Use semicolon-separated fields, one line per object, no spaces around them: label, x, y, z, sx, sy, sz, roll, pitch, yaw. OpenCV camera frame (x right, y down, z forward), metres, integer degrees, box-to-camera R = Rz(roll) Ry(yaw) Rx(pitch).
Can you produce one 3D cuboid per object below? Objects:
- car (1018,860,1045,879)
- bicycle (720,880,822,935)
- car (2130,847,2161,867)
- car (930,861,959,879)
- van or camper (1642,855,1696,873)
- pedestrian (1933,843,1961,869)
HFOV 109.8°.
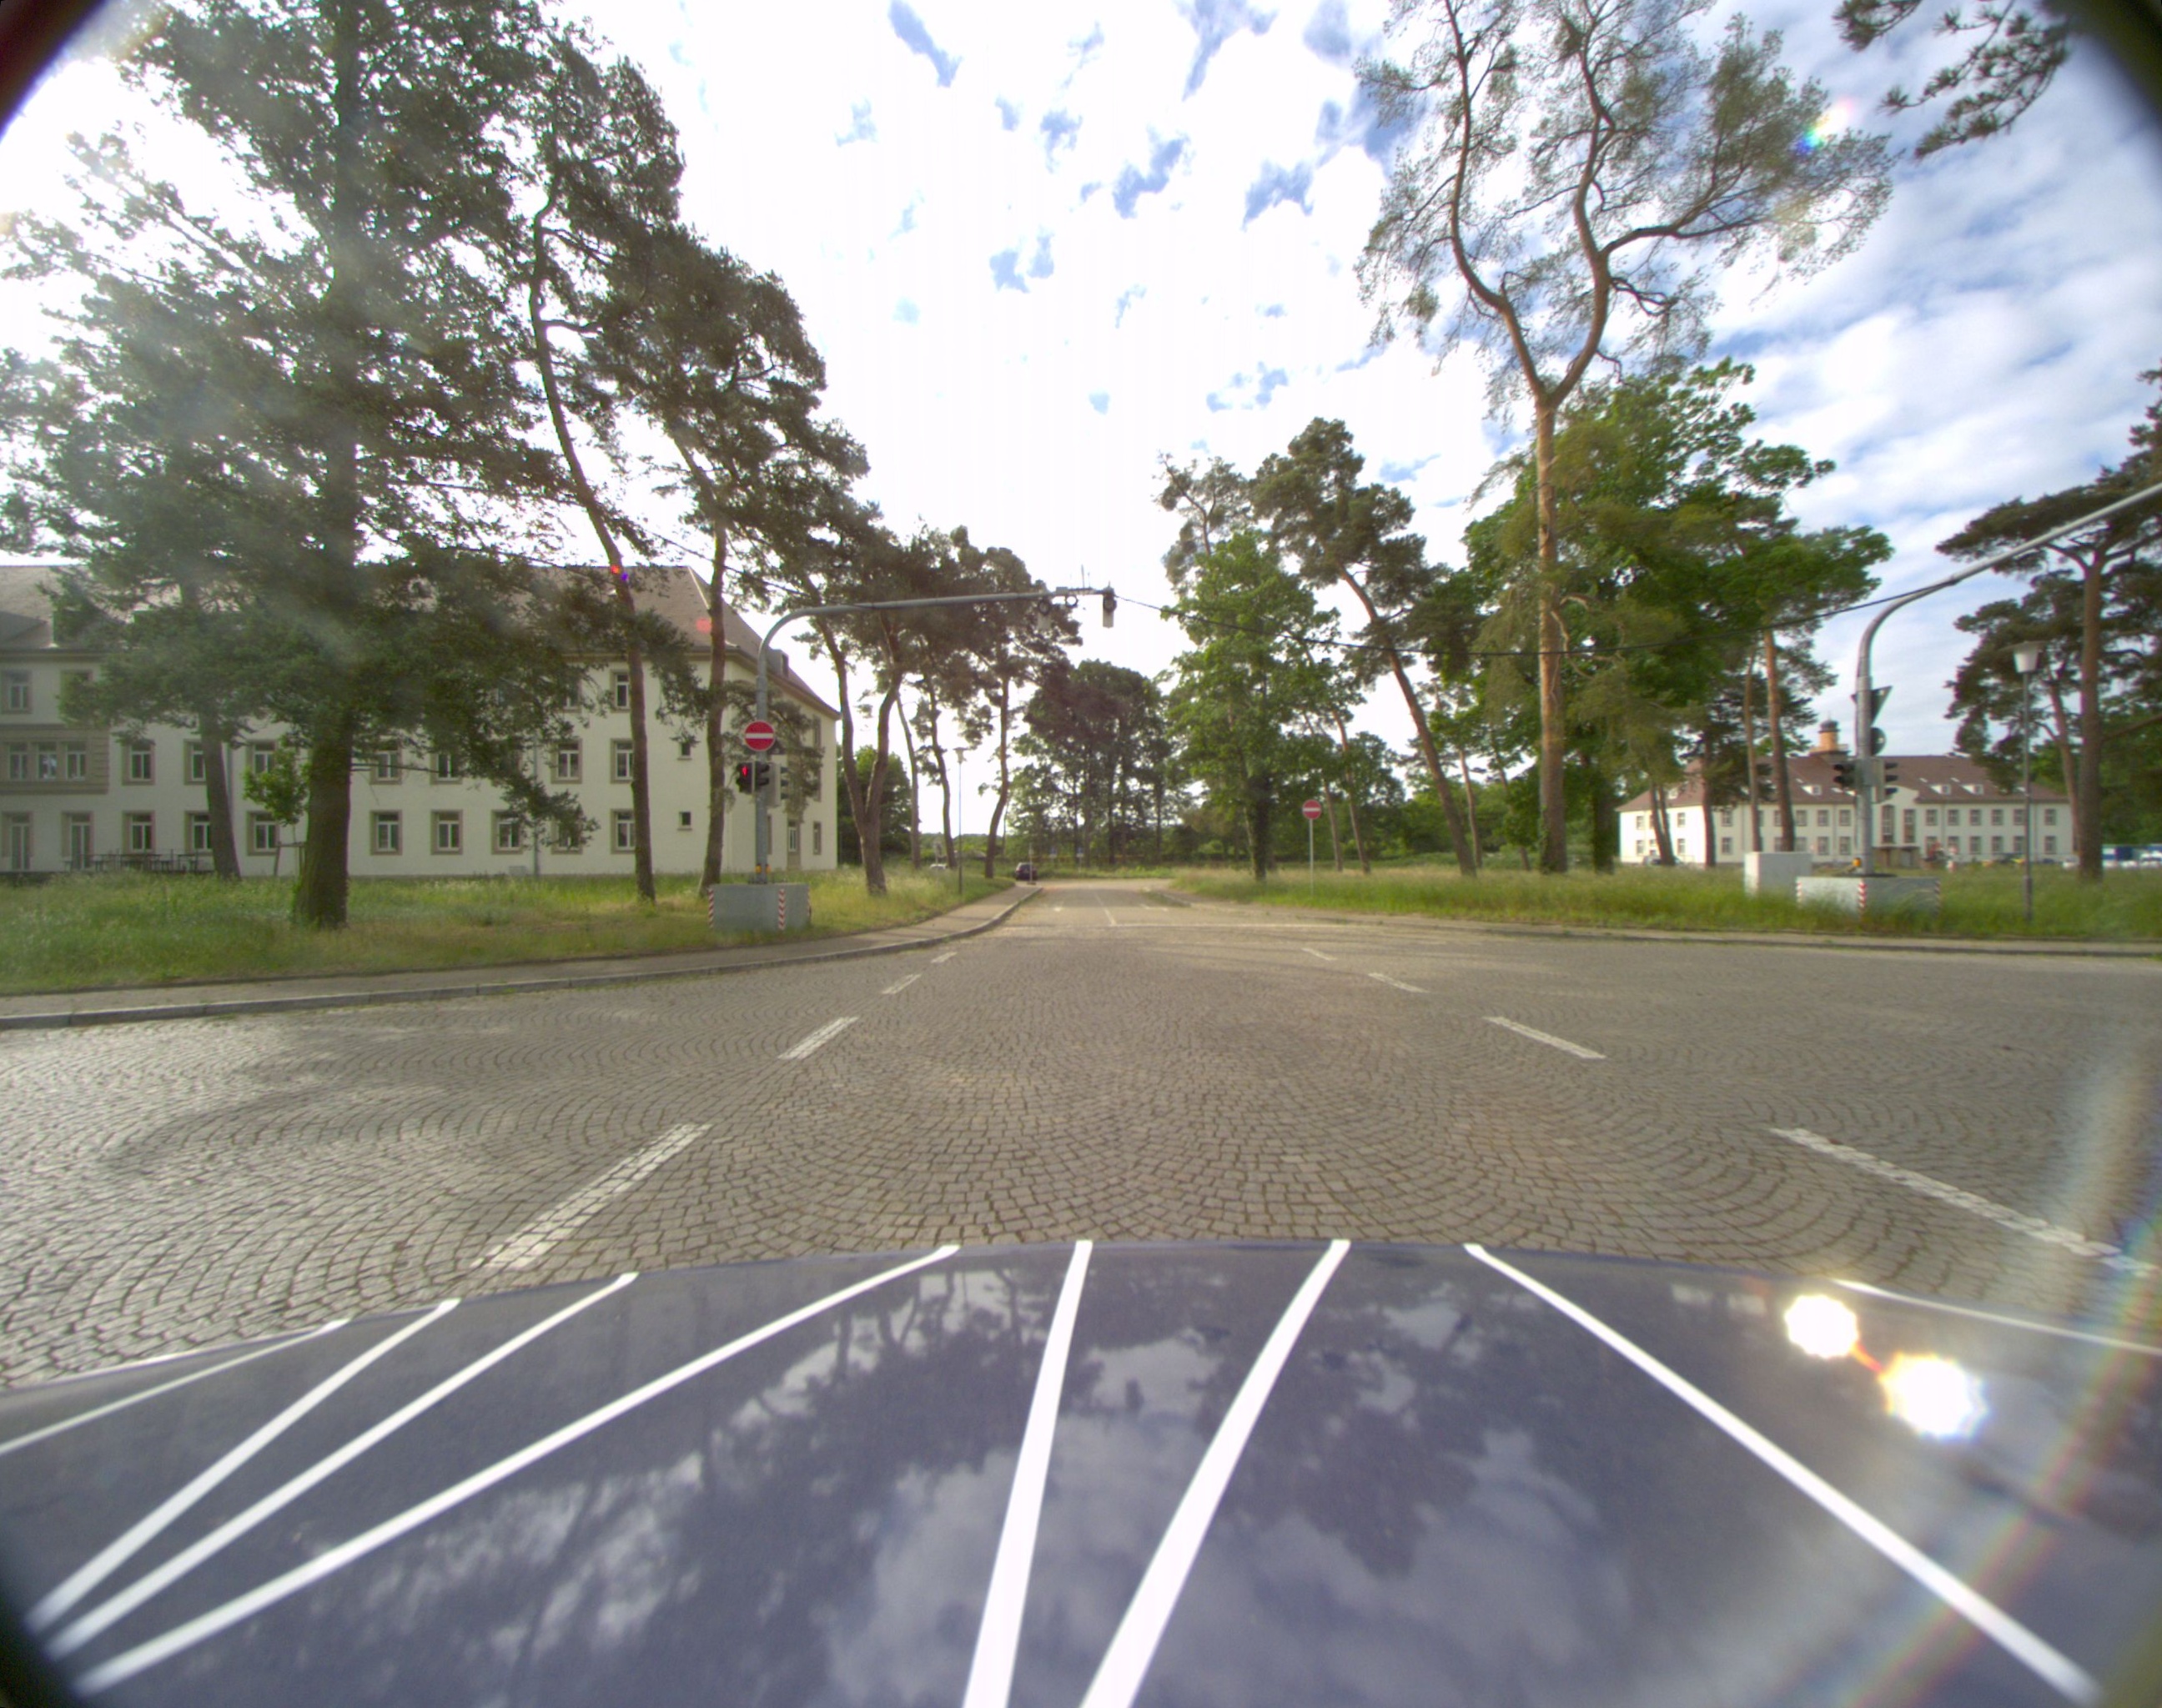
car;-4.247;1.291;65.399;1.998;1.524;4.000;0;0;1
bicycle;-6.475;1.101;15.926;1.833;1.057;0.646;0;4;-3
car;110.783;0.295;77.479;4.831;2.002;2.167;0;0;-2
car;-11.877;1.367;66.100;1.771;1.524;3.695;0;0;1
van or camper;80.536;1.354;104.219;2.464;2.293;6.126;0;0;-2
pedestrian;72.741;0.186;63.820;1.055;2.165;1.185;0;0;0
